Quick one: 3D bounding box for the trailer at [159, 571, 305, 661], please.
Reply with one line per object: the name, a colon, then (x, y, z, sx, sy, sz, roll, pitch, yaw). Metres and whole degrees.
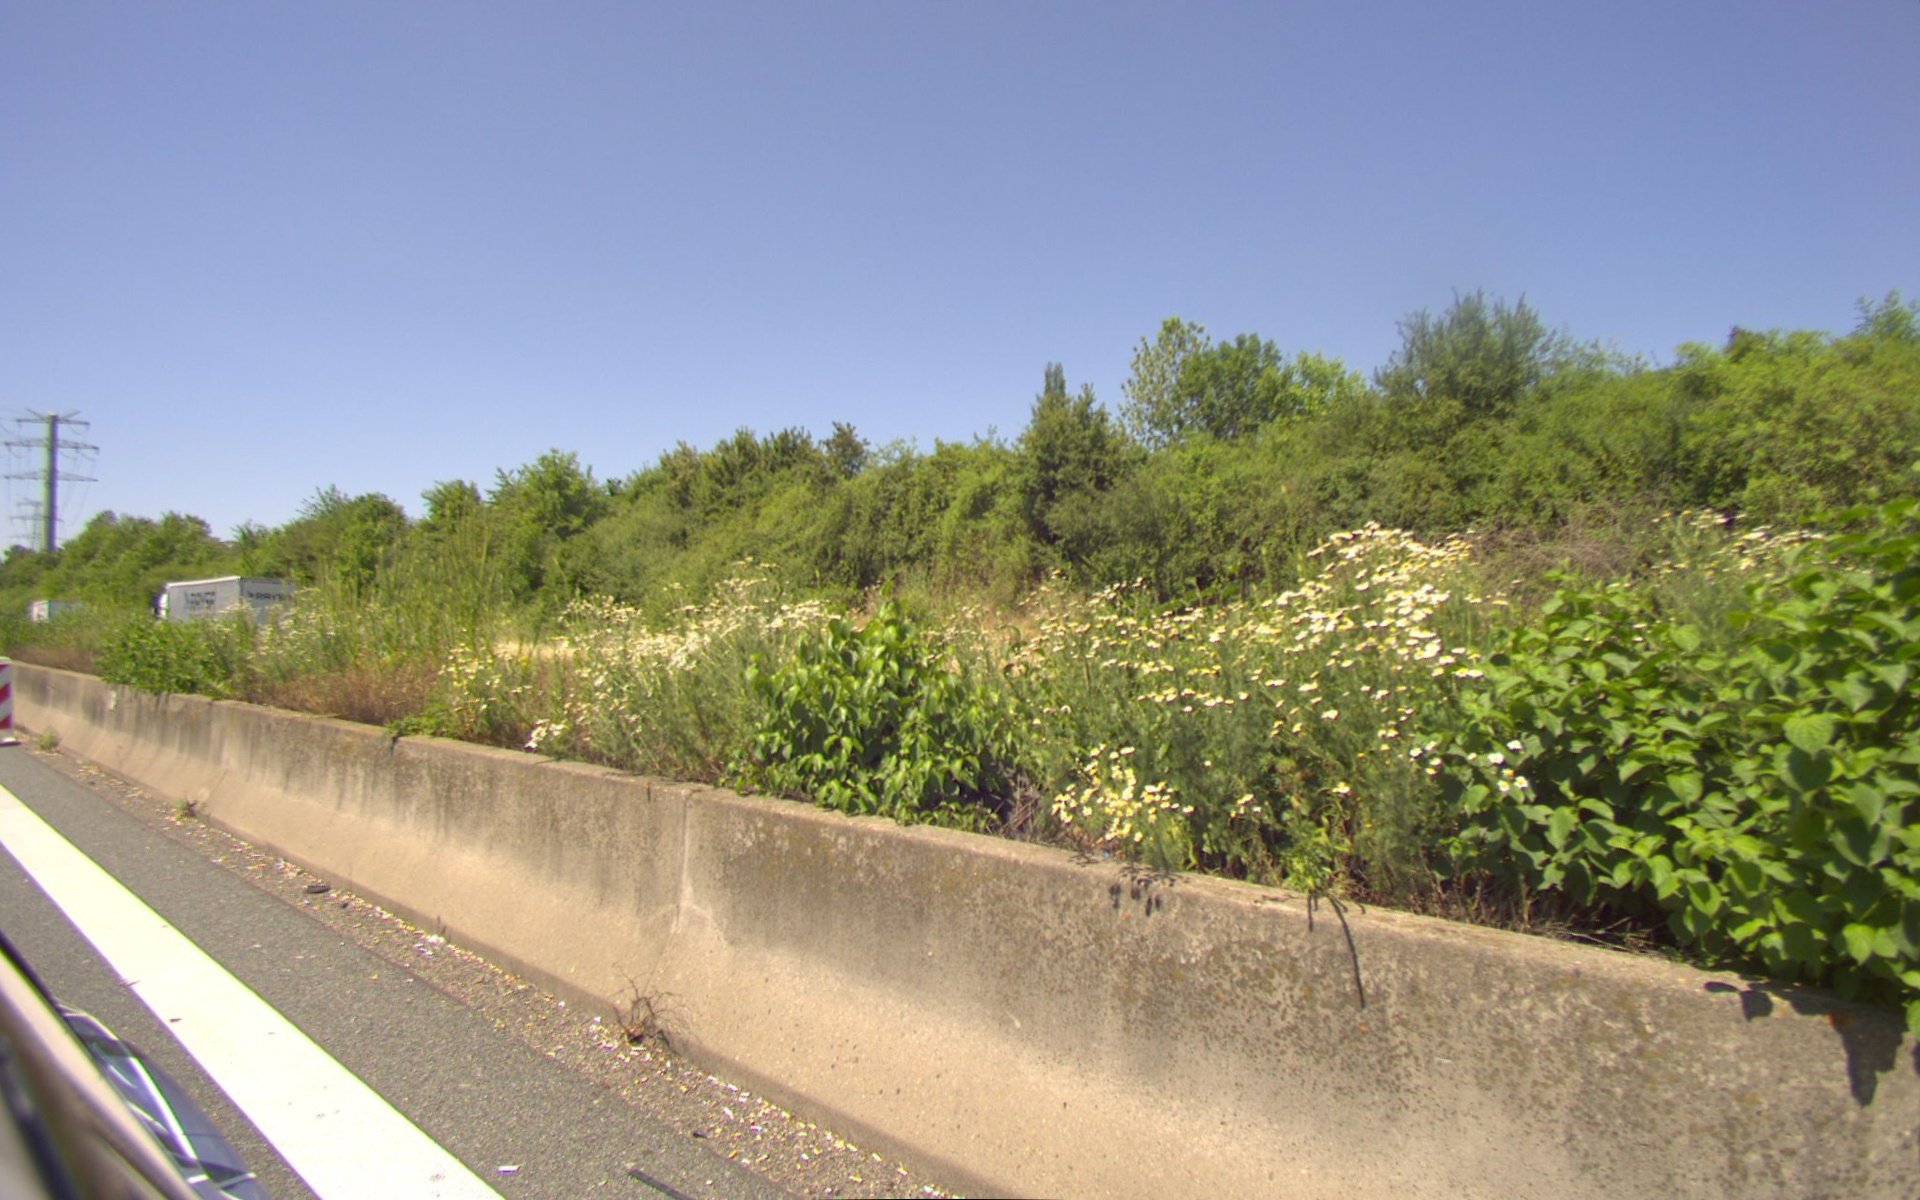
trailer: (-39.056, 0.934, 53.960, 14.012, 4.199, 2.985, -1, -5, 41)

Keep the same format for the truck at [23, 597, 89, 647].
truck: (-76.860, 1.907, 86.002, 9.023, 3.918, 2.734, -1, -5, 40)

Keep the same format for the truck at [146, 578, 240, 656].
truck: (-44.641, 1.038, 58.854, 5.802, 4.199, 2.985, -1, -5, 41)
